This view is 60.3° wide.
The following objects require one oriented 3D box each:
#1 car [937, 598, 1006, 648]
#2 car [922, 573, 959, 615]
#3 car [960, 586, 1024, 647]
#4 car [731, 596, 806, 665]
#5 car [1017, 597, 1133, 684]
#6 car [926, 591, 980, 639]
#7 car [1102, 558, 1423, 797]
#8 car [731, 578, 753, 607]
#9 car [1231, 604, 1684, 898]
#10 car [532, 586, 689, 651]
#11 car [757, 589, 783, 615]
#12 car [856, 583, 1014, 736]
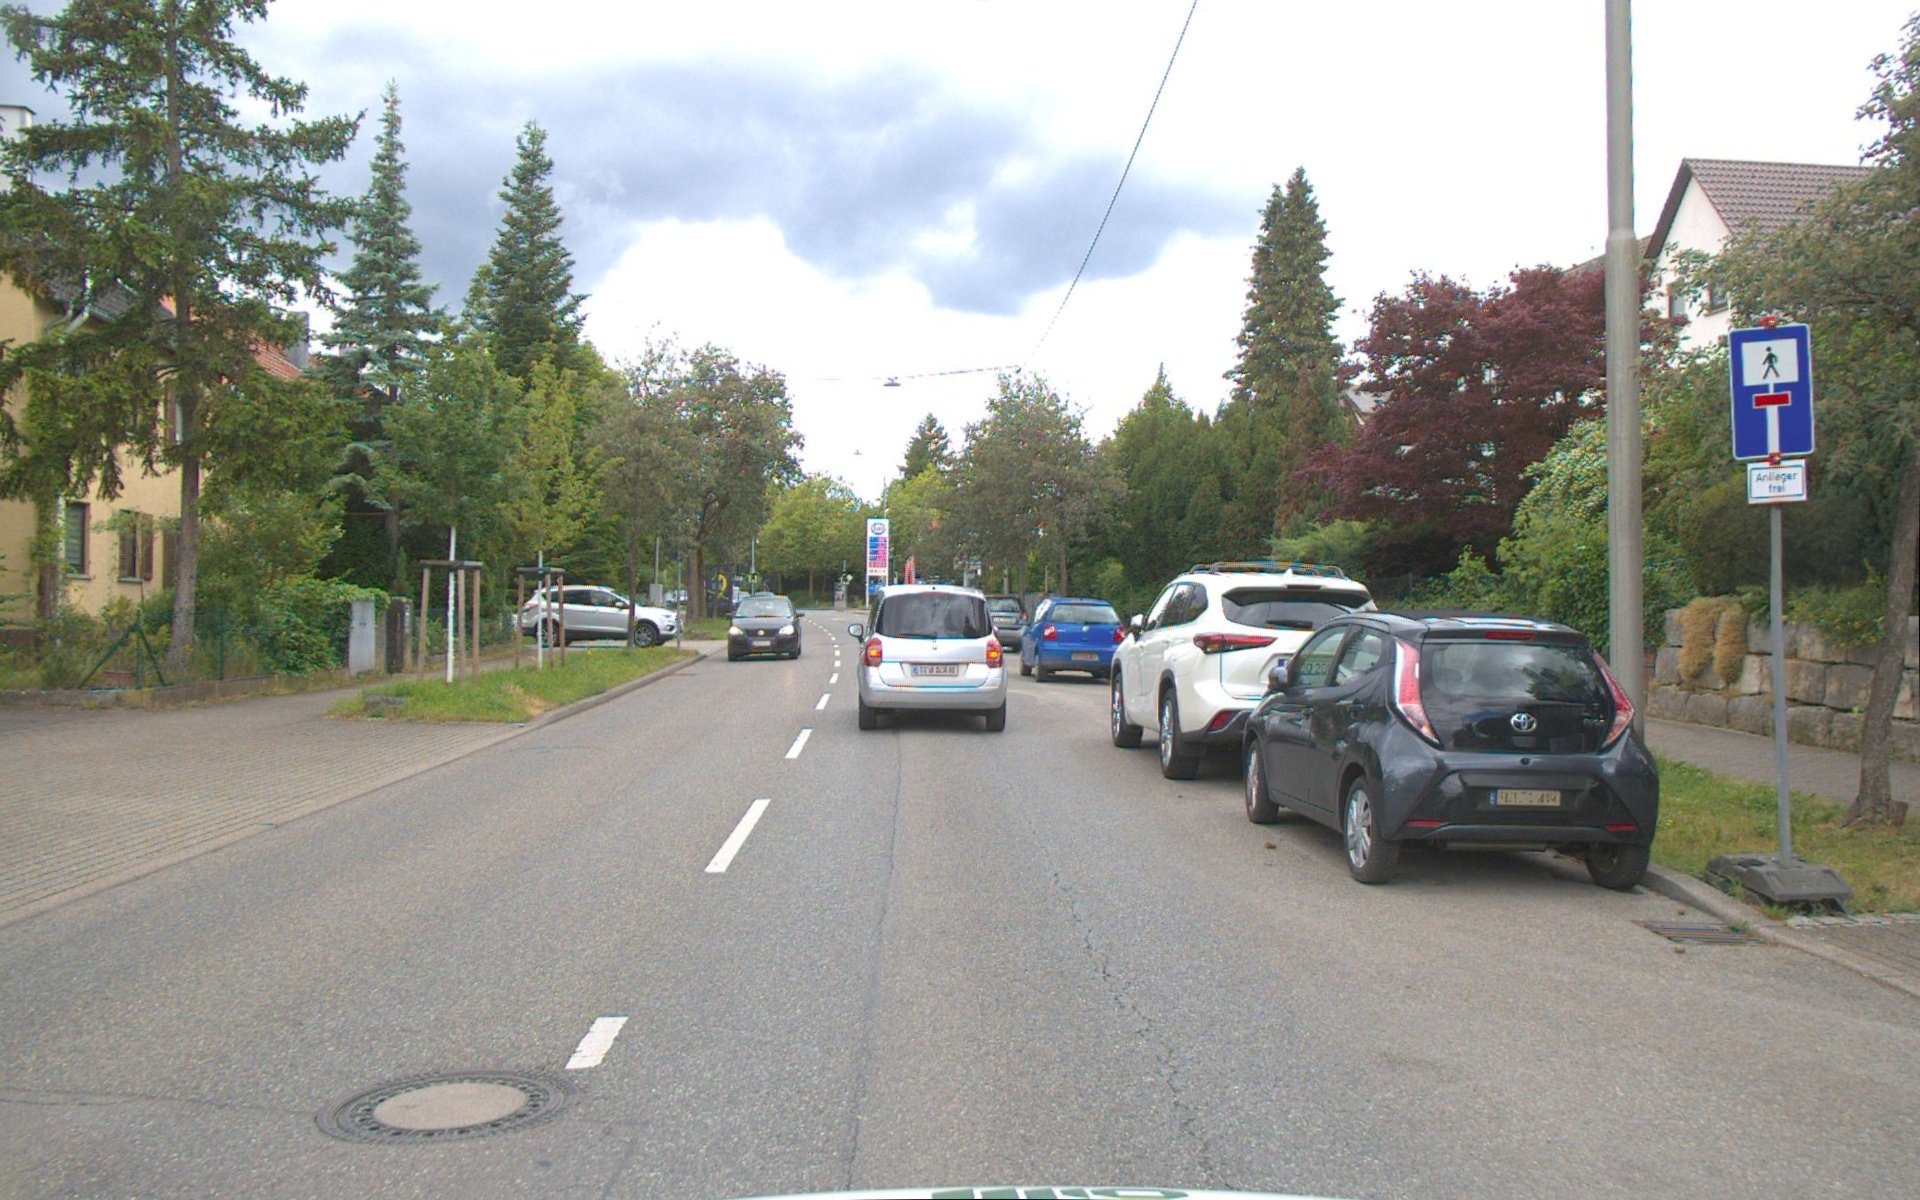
[{"bbox_3d":[0.315,0.682,51.426,1.664,1.458,4.334,0,0,-6],"label":"car"},{"bbox_3d":[-1.488,-0.419,122.382,2.237,2.962,5.272,2,0,-6],"label":"car"},{"bbox_3d":[0.851,0.414,45.864,1.661,1.584,3.955,-1,1,-1],"label":"car"},{"bbox_3d":[-4.484,0.679,39.030,1.544,1.498,3.468,-2,0,-4],"label":"car"},{"bbox_3d":[2.045,0.697,30.414,1.595,1.477,3.872,0,0,-4],"label":"car"},{"bbox_3d":[-0.274,0.485,57.090,1.661,1.598,3.953,0,0,-4],"label":"car"},{"bbox_3d":[2.552,0.595,15.158,1.763,1.809,4.701,1,0,-4],"label":"car"},{"bbox_3d":[-18.645,-0.623,141.443,1.898,2.450,3.993,0,0,-8],"label":"car"},{"bbox_3d":[2.867,0.793,10.298,1.527,1.468,3.504,1,0,-4],"label":"car"},{"bbox_3d":[-9.702,0.508,46.156,4.003,1.736,1.747,0,0,-1],"label":"car"},{"bbox_3d":[-11.615,0.097,100.925,1.516,1.496,3.736,1,0,-8],"label":"car"},{"bbox_3d":[-0.311,0.629,19.198,1.645,1.587,3.510,1,0,-2],"label":"car"}]
